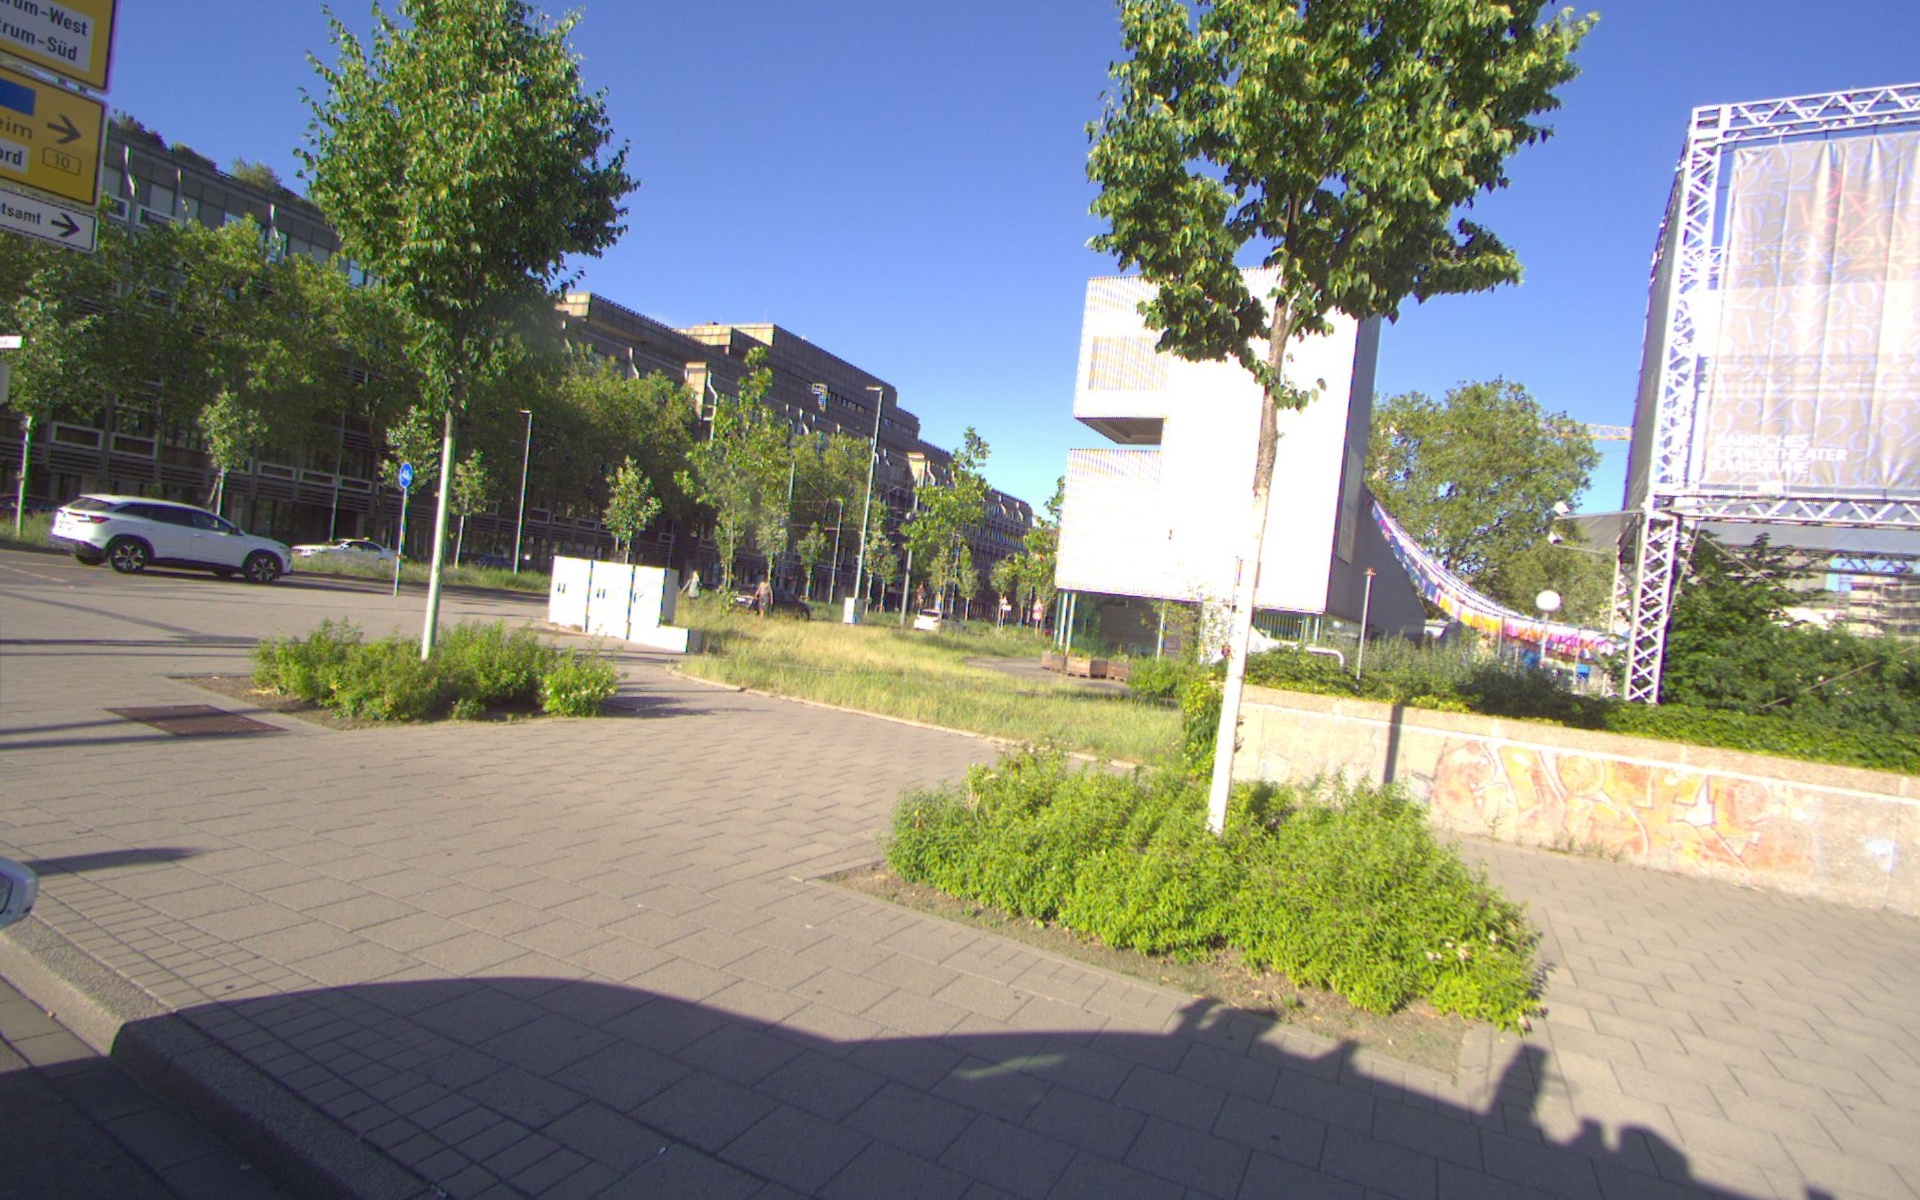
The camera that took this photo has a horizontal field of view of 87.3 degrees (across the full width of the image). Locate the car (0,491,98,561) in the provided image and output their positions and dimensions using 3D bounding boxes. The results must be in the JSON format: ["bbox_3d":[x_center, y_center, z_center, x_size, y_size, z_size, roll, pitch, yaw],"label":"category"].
[{"bbox_3d":[-33.323,-2.707,35.376,1.966,2.036,3.997,6,-2,29],"label":"car"}]

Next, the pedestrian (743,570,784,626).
[{"bbox_3d":[-6.547,-0.057,33.488,0.925,1.750,0.695,7,1,18],"label":"pedestrian"}]

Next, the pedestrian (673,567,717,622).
[{"bbox_3d":[-8.551,-0.166,32.499,0.925,1.650,0.803,7,1,18],"label":"pedestrian"}]

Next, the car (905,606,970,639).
[{"bbox_3d":[-1.282,1.379,60.392,1.964,1.546,4.700,7,-1,24],"label":"car"}]

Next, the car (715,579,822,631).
[{"bbox_3d":[-8.555,0.267,45.441,1.965,1.620,4.952,8,-2,28],"label":"car"}]

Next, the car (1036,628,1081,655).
[{"bbox_3d":[7.936,3.332,80.773,1.965,1.779,4.483,7,-1,26],"label":"car"}]

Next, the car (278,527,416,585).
[{"bbox_3d":[-30.685,-2.177,50.586,2.062,2.036,5.455,6,-2,29],"label":"car"}]

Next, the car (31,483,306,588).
[{"bbox_3d":[-17.765,-1.390,22.837,1.965,1.680,4.400,8,0,28],"label":"car"}]

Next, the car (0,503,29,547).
[{"bbox_3d":[-37.253,-3.040,36.946,1.836,1.525,3.997,7,-2,29],"label":"car"}]
